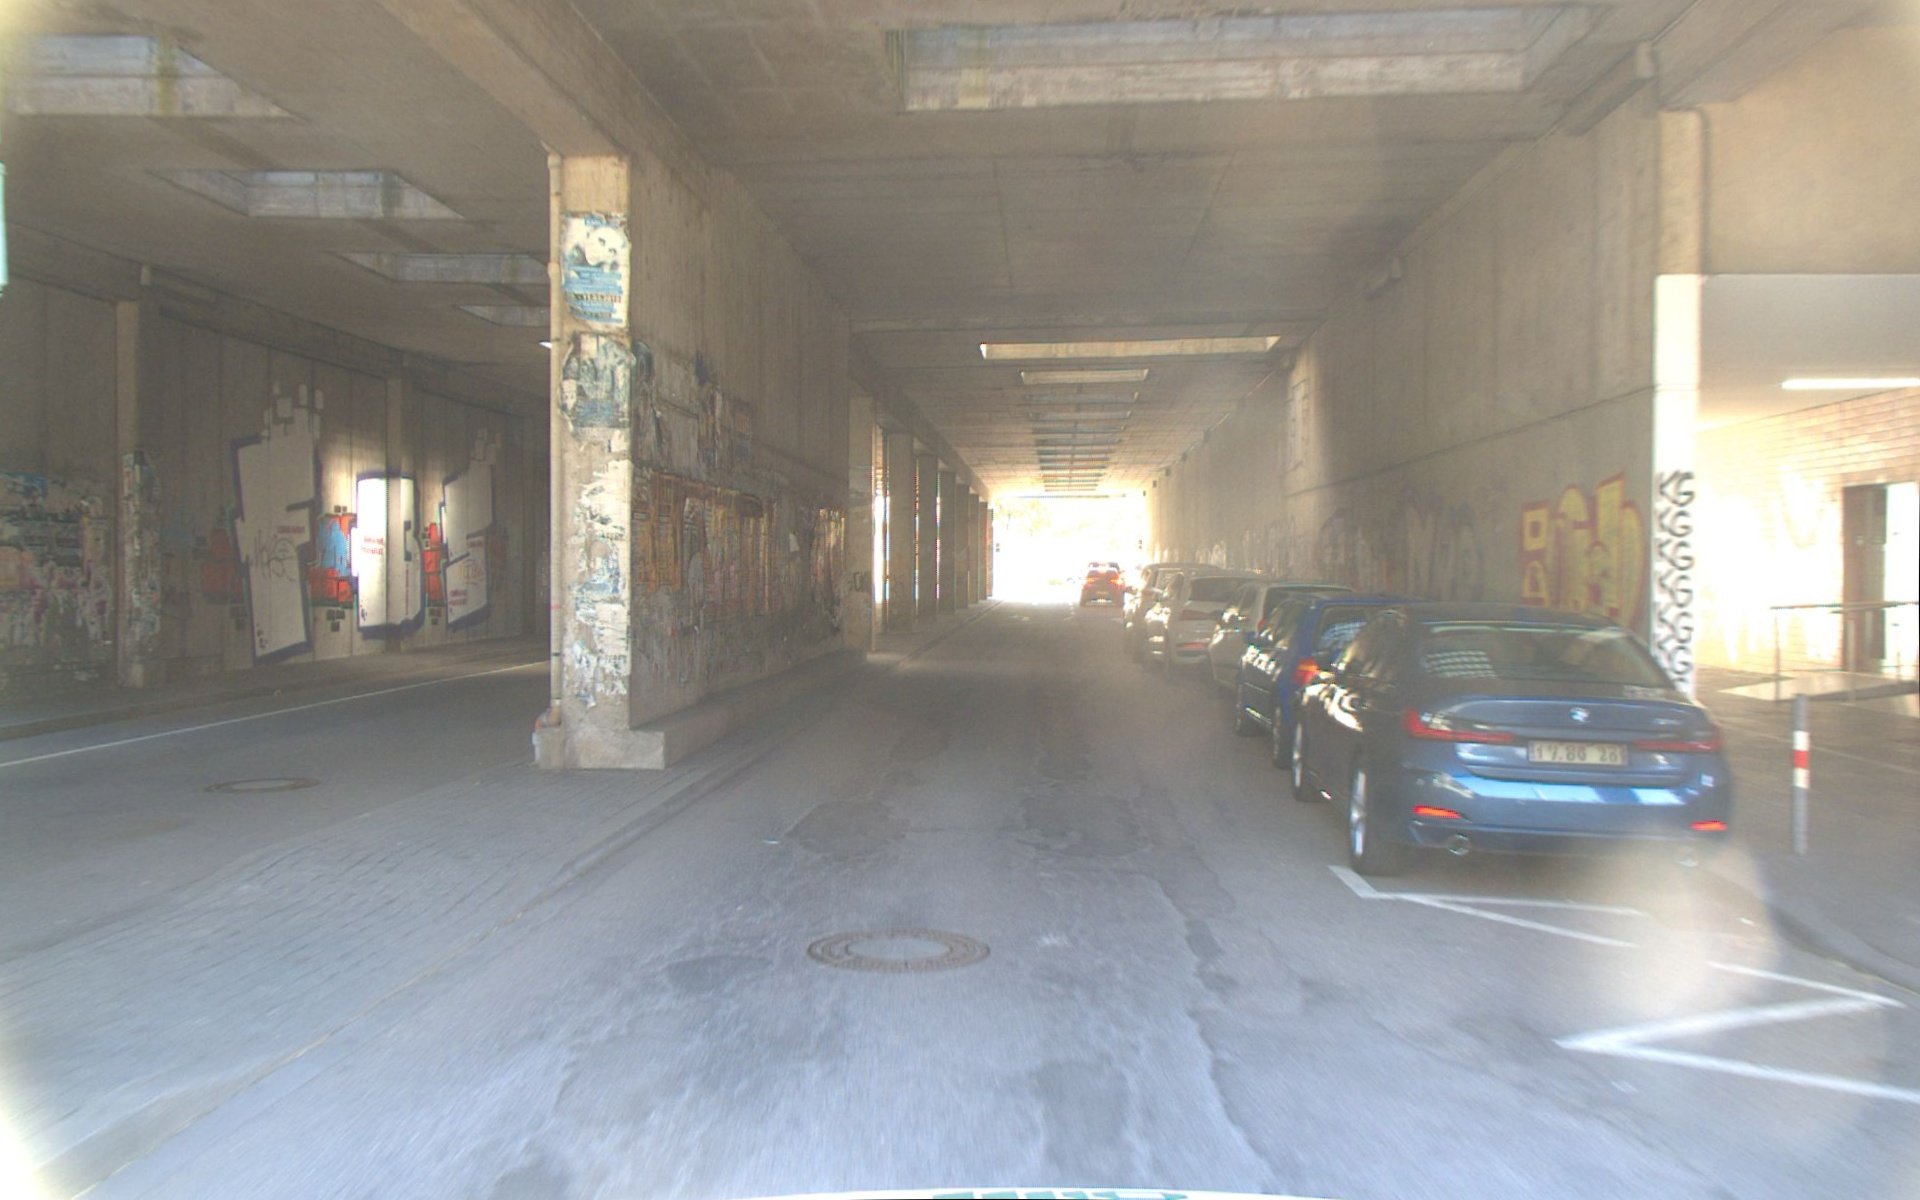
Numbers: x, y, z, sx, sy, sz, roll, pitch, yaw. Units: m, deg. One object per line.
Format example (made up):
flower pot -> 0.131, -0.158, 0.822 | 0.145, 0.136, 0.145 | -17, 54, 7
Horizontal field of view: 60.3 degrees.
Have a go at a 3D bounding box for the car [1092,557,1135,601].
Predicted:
car -> 6.907, -0.977, 74.877 | 1.777, 1.915, 4.588 | 0, 1, 3

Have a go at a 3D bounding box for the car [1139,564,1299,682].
car -> 3.675, 0.287, 24.084 | 1.694, 1.573, 4.156 | 0, 1, 0

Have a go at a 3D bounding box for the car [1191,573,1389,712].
car -> 3.836, 0.441, 19.760 | 1.571, 1.513, 3.637 | 0, 1, -1

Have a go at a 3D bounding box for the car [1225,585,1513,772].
car -> 3.485, 0.587, 14.812 | 1.724, 1.435, 4.065 | 0, 1, 2

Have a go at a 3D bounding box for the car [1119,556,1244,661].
car -> 3.874, 0.088, 29.562 | 1.814, 1.695, 4.373 | 1, 2, 3

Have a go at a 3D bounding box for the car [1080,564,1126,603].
car -> 5.828, -0.688, 67.633 | 1.788, 1.527, 4.214 | 0, 1, 4

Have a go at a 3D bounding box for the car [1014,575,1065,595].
car -> 6.311, -1.185, 130.834 | 3.902, 1.601, 1.641 | 0, 1, 7

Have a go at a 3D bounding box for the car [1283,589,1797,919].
car -> 3.157, 0.700, 10.049 | 1.812, 1.458, 4.610 | 2, 1, 5
